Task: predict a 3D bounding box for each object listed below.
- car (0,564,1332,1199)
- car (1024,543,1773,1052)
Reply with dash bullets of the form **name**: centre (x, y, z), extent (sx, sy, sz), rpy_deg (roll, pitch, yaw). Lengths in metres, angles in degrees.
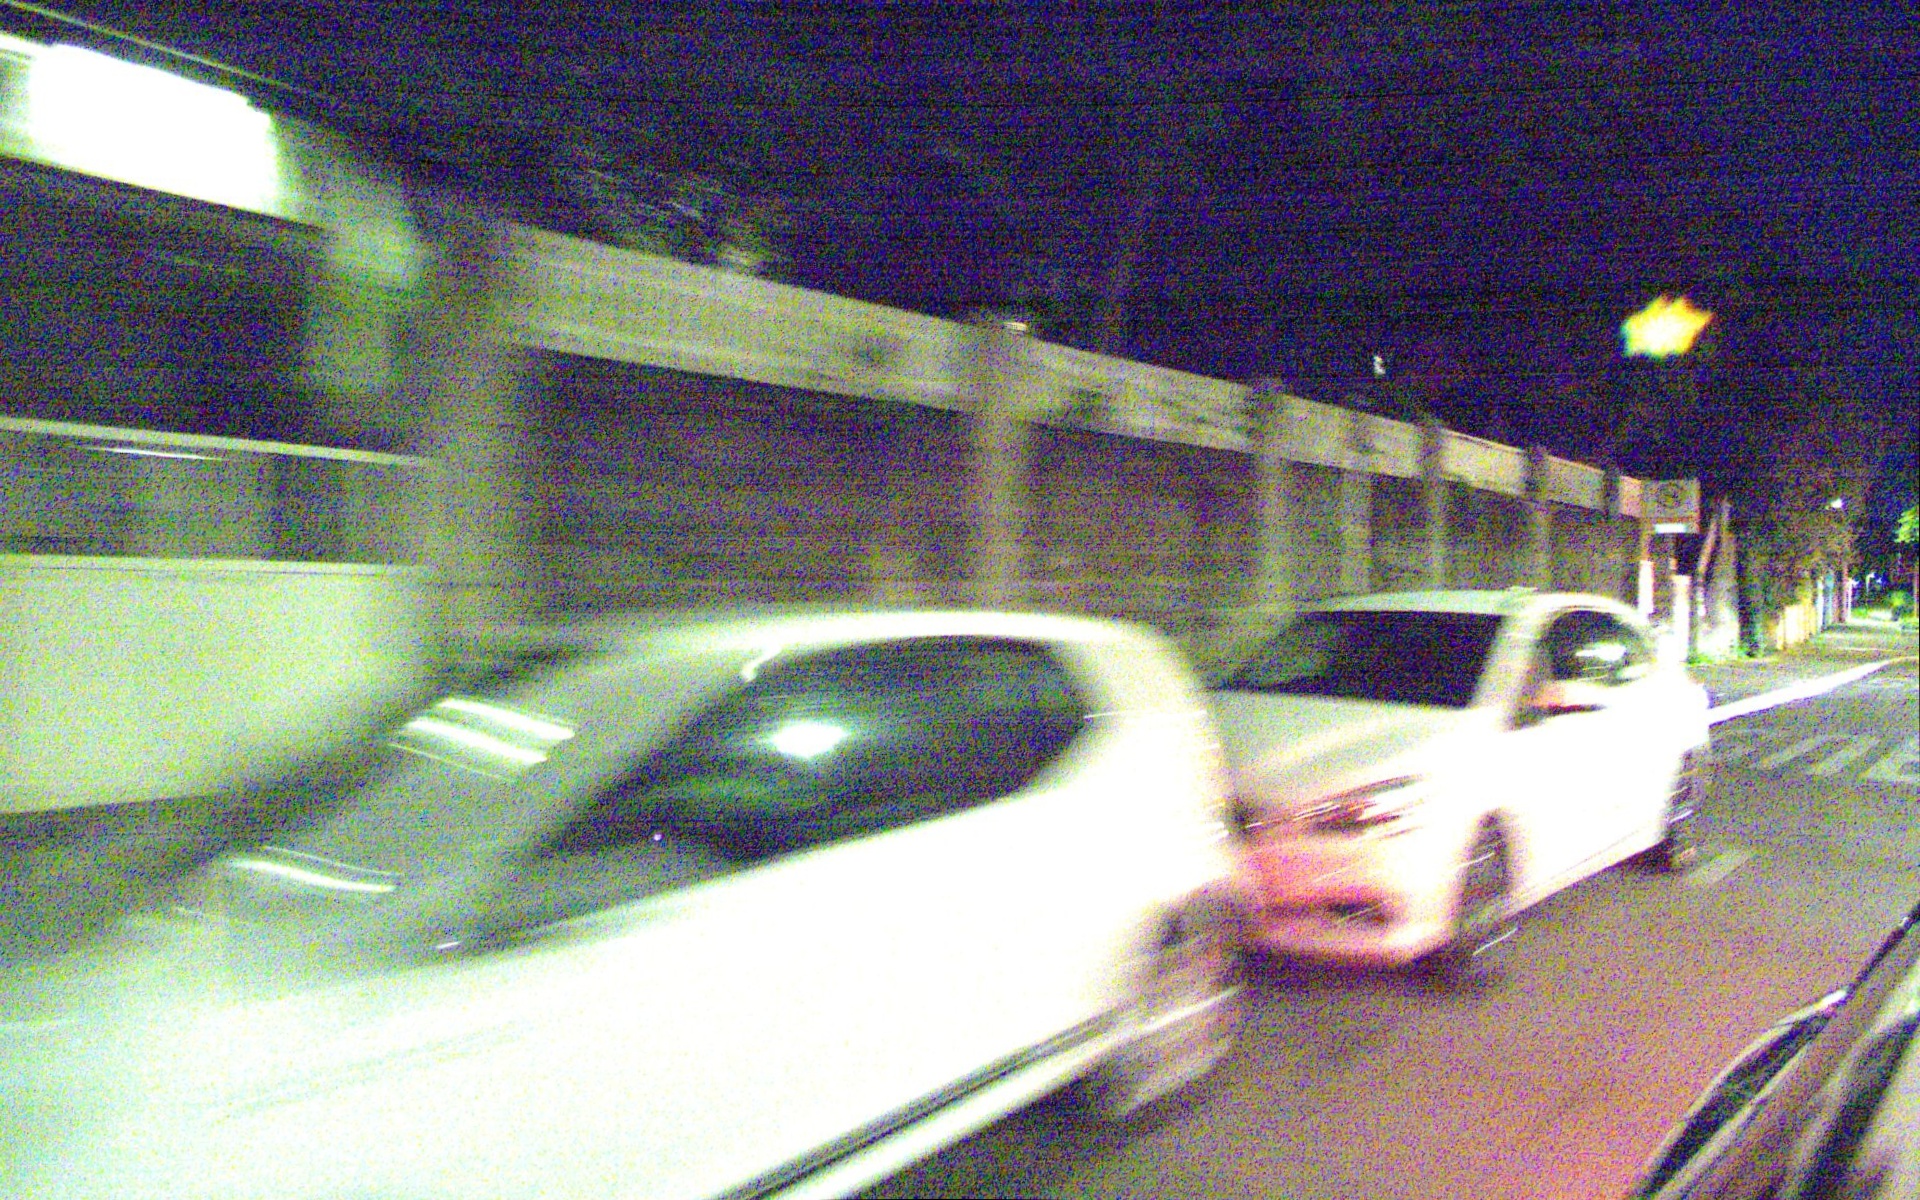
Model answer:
- **car**: centre (-0.758, 0.706, 2.556), extent (3.651, 1.479, 1.612), rpy_deg (1, 1, -41)
- **car**: centre (2.635, 0.632, 5.403), extent (4.644, 1.614, 1.758), rpy_deg (0, -1, -40)
